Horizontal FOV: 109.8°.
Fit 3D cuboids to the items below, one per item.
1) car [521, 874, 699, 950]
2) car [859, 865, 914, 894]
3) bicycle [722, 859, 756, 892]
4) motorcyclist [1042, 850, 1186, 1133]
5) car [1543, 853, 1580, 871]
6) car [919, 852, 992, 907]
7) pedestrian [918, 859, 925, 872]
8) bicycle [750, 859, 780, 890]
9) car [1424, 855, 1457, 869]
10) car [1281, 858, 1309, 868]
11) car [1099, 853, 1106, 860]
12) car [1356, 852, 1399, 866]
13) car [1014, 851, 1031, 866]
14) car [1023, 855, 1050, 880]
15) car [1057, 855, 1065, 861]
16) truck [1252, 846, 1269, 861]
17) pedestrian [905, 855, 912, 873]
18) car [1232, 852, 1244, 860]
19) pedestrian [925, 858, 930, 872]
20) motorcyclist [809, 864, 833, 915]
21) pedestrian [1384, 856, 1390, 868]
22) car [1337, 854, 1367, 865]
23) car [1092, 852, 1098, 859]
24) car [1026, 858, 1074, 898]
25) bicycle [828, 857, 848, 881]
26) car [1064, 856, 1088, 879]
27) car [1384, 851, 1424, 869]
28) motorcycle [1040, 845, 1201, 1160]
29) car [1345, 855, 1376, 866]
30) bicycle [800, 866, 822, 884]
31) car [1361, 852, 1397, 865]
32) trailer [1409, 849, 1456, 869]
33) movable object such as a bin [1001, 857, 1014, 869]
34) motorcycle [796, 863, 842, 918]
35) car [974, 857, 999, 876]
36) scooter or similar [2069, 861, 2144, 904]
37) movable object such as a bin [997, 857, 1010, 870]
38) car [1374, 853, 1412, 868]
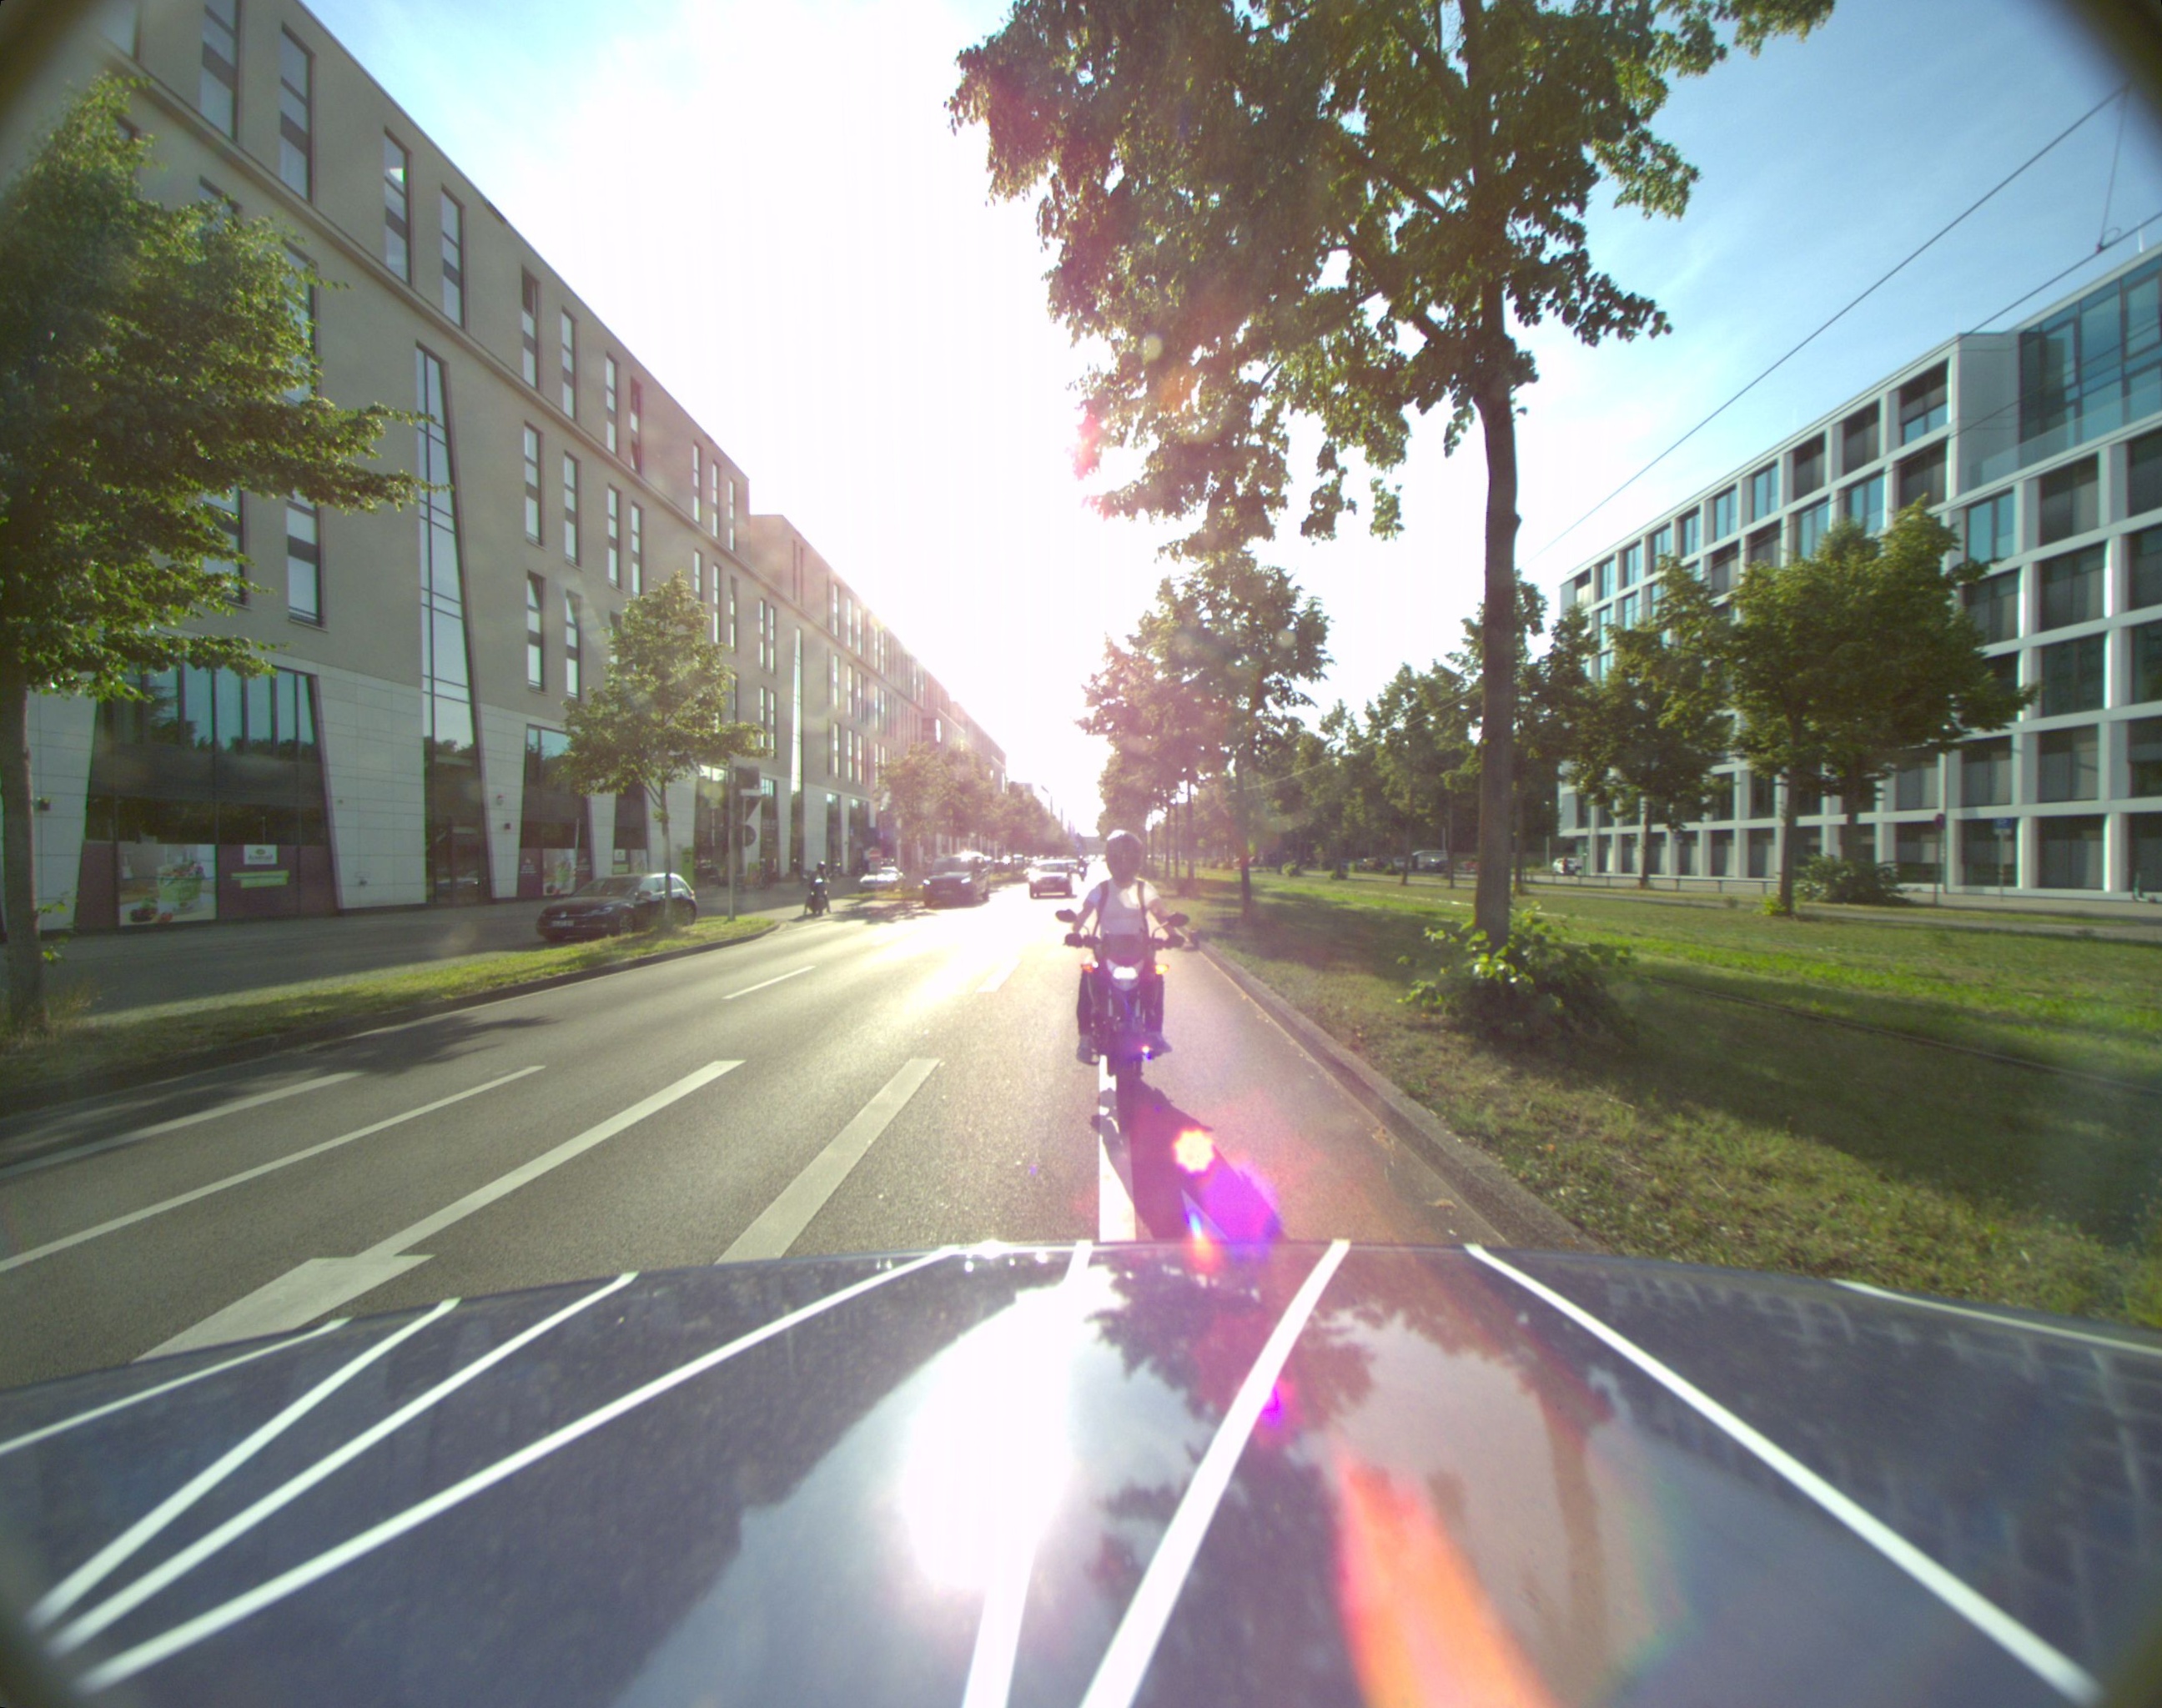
[{"bbox_3d":[-10.851,1.263,17.900,1.611,1.362,4.156,-2,1,-1],"label":"car"},{"bbox_3d":[-9.975,1.274,39.247,1.712,1.235,3.905,-2,1,1],"label":"car"},{"bbox_3d":[-17.447,1.070,38.864,0.557,1.562,2.276,-2,1,2],"label":"bicycle"},{"bbox_3d":[0.207,0.841,5.064,0.814,1.699,0.843,-2,1,1],"label":"motorcyclist"},{"bbox_3d":[47.880,0.790,75.853,1.851,1.586,4.003,-2,1,13],"label":"car"},{"bbox_3d":[-4.795,0.925,29.669,1.864,1.856,4.778,-2,1,1],"label":"car"},{"bbox_3d":[-18.259,1.286,87.013,0.515,1.513,0.597,-2,1,1],"label":"pedestrian"},{"bbox_3d":[-17.304,1.115,41.620,0.557,1.558,2.212,-2,1,2],"label":"bicycle"},{"bbox_3d":[38.100,0.861,80.608,1.683,1.385,3.761,-2,1,-1],"label":"car"},{"bbox_3d":[33.153,1.360,117.768,1.690,1.427,4.026,-3,1,-29],"label":"car"},{"bbox_3d":[6.066,0.614,212.930,1.998,1.736,4.000,-2,1,1],"label":"car"},{"bbox_3d":[40.224,0.666,103.045,5.071,1.725,1.886,-2,1,4],"label":"car"},{"bbox_3d":[-7.965,0.557,103.583,1.842,1.865,5.030,-2,1,-1],"label":"car"},{"bbox_3d":[-3.502,1.012,60.569,1.777,1.805,4.000,-2,1,1],"label":"car"},{"bbox_3d":[-5.482,1.003,211.825,1.840,1.521,4.328,-2,1,2],"label":"car"},{"bbox_3d":[43.415,-0.115,184.196,2.894,3.496,7.947,-2,1,6],"label":"truck"},{"bbox_3d":[-17.148,1.031,75.571,0.538,1.752,0.646,-2,1,2],"label":"pedestrian"},{"bbox_3d":[31.502,0.352,152.513,1.834,1.423,4.475,-2,1,3],"label":"car"},{"bbox_3d":[-17.628,1.242,87.136,0.540,1.565,0.514,-2,1,-13],"label":"pedestrian"},{"bbox_3d":[-8.310,1.129,24.316,0.625,1.631,0.417,0,1,-2],"label":"motorcyclist"},{"bbox_3d":[36.484,0.954,90.545,0.523,1.472,0.568,-2,1,1],"label":"pedestrian"},{"bbox_3d":[40.290,0.767,113.024,3.865,1.477,1.745,-2,1,9],"label":"car"},{"bbox_3d":[4.302,0.451,233.544,1.998,1.736,4.000,-2,1,1],"label":"car"},{"bbox_3d":[-1.279,0.996,32.990,1.739,1.499,4.000,-2,1,1],"label":"car"},{"bbox_3d":[-16.886,1.013,52.845,0.557,1.610,2.212,-2,1,2],"label":"bicycle"},{"bbox_3d":[-0.323,0.969,55.572,1.644,1.553,3.734,-2,1,1],"label":"car"},{"bbox_3d":[38.403,0.685,90.355,4.001,1.936,1.758,-2,1,2],"label":"car"},{"bbox_3d":[0.230,0.784,5.376,0.798,1.659,2.634,-2,1,1],"label":"motorcycle"},{"bbox_3d":[39.036,0.911,106.022,3.655,1.420,1.810,-2,1,4],"label":"car"},{"bbox_3d":[-17.038,1.289,47.995,0.635,1.077,1.905,0,0,2],"label":"bicycle"},{"bbox_3d":[39.489,0.621,100.702,3.996,1.551,1.856,-2,1,4],"label":"car"},{"bbox_3d":[38.968,0.545,84.397,4.373,2.042,1.758,-2,1,5],"label":"trailer"},{"bbox_3d":[-8.108,1.008,83.855,1.280,1.229,1.191,-2,1,-1],"label":"movable object such as a bin"},{"bbox_3d":[-8.316,1.114,24.233,0.703,1.608,2.011,-2,1,0],"label":"motorcycle"},{"bbox_3d":[-9.012,1.173,72.562,1.832,1.702,4.295,-2,1,0],"label":"car"},{"bbox_3d":[36.961,1.010,27.392,1.933,1.468,0.415,-2,1,6],"label":"scooter or similar"},{"bbox_3d":[-8.261,1.043,81.201,1.280,1.284,1.178,-2,1,-1],"label":"movable object such as a bin"},{"bbox_3d":[38.339,0.803,93.454,4.001,1.633,1.758,-2,1,2],"label":"car"}]
